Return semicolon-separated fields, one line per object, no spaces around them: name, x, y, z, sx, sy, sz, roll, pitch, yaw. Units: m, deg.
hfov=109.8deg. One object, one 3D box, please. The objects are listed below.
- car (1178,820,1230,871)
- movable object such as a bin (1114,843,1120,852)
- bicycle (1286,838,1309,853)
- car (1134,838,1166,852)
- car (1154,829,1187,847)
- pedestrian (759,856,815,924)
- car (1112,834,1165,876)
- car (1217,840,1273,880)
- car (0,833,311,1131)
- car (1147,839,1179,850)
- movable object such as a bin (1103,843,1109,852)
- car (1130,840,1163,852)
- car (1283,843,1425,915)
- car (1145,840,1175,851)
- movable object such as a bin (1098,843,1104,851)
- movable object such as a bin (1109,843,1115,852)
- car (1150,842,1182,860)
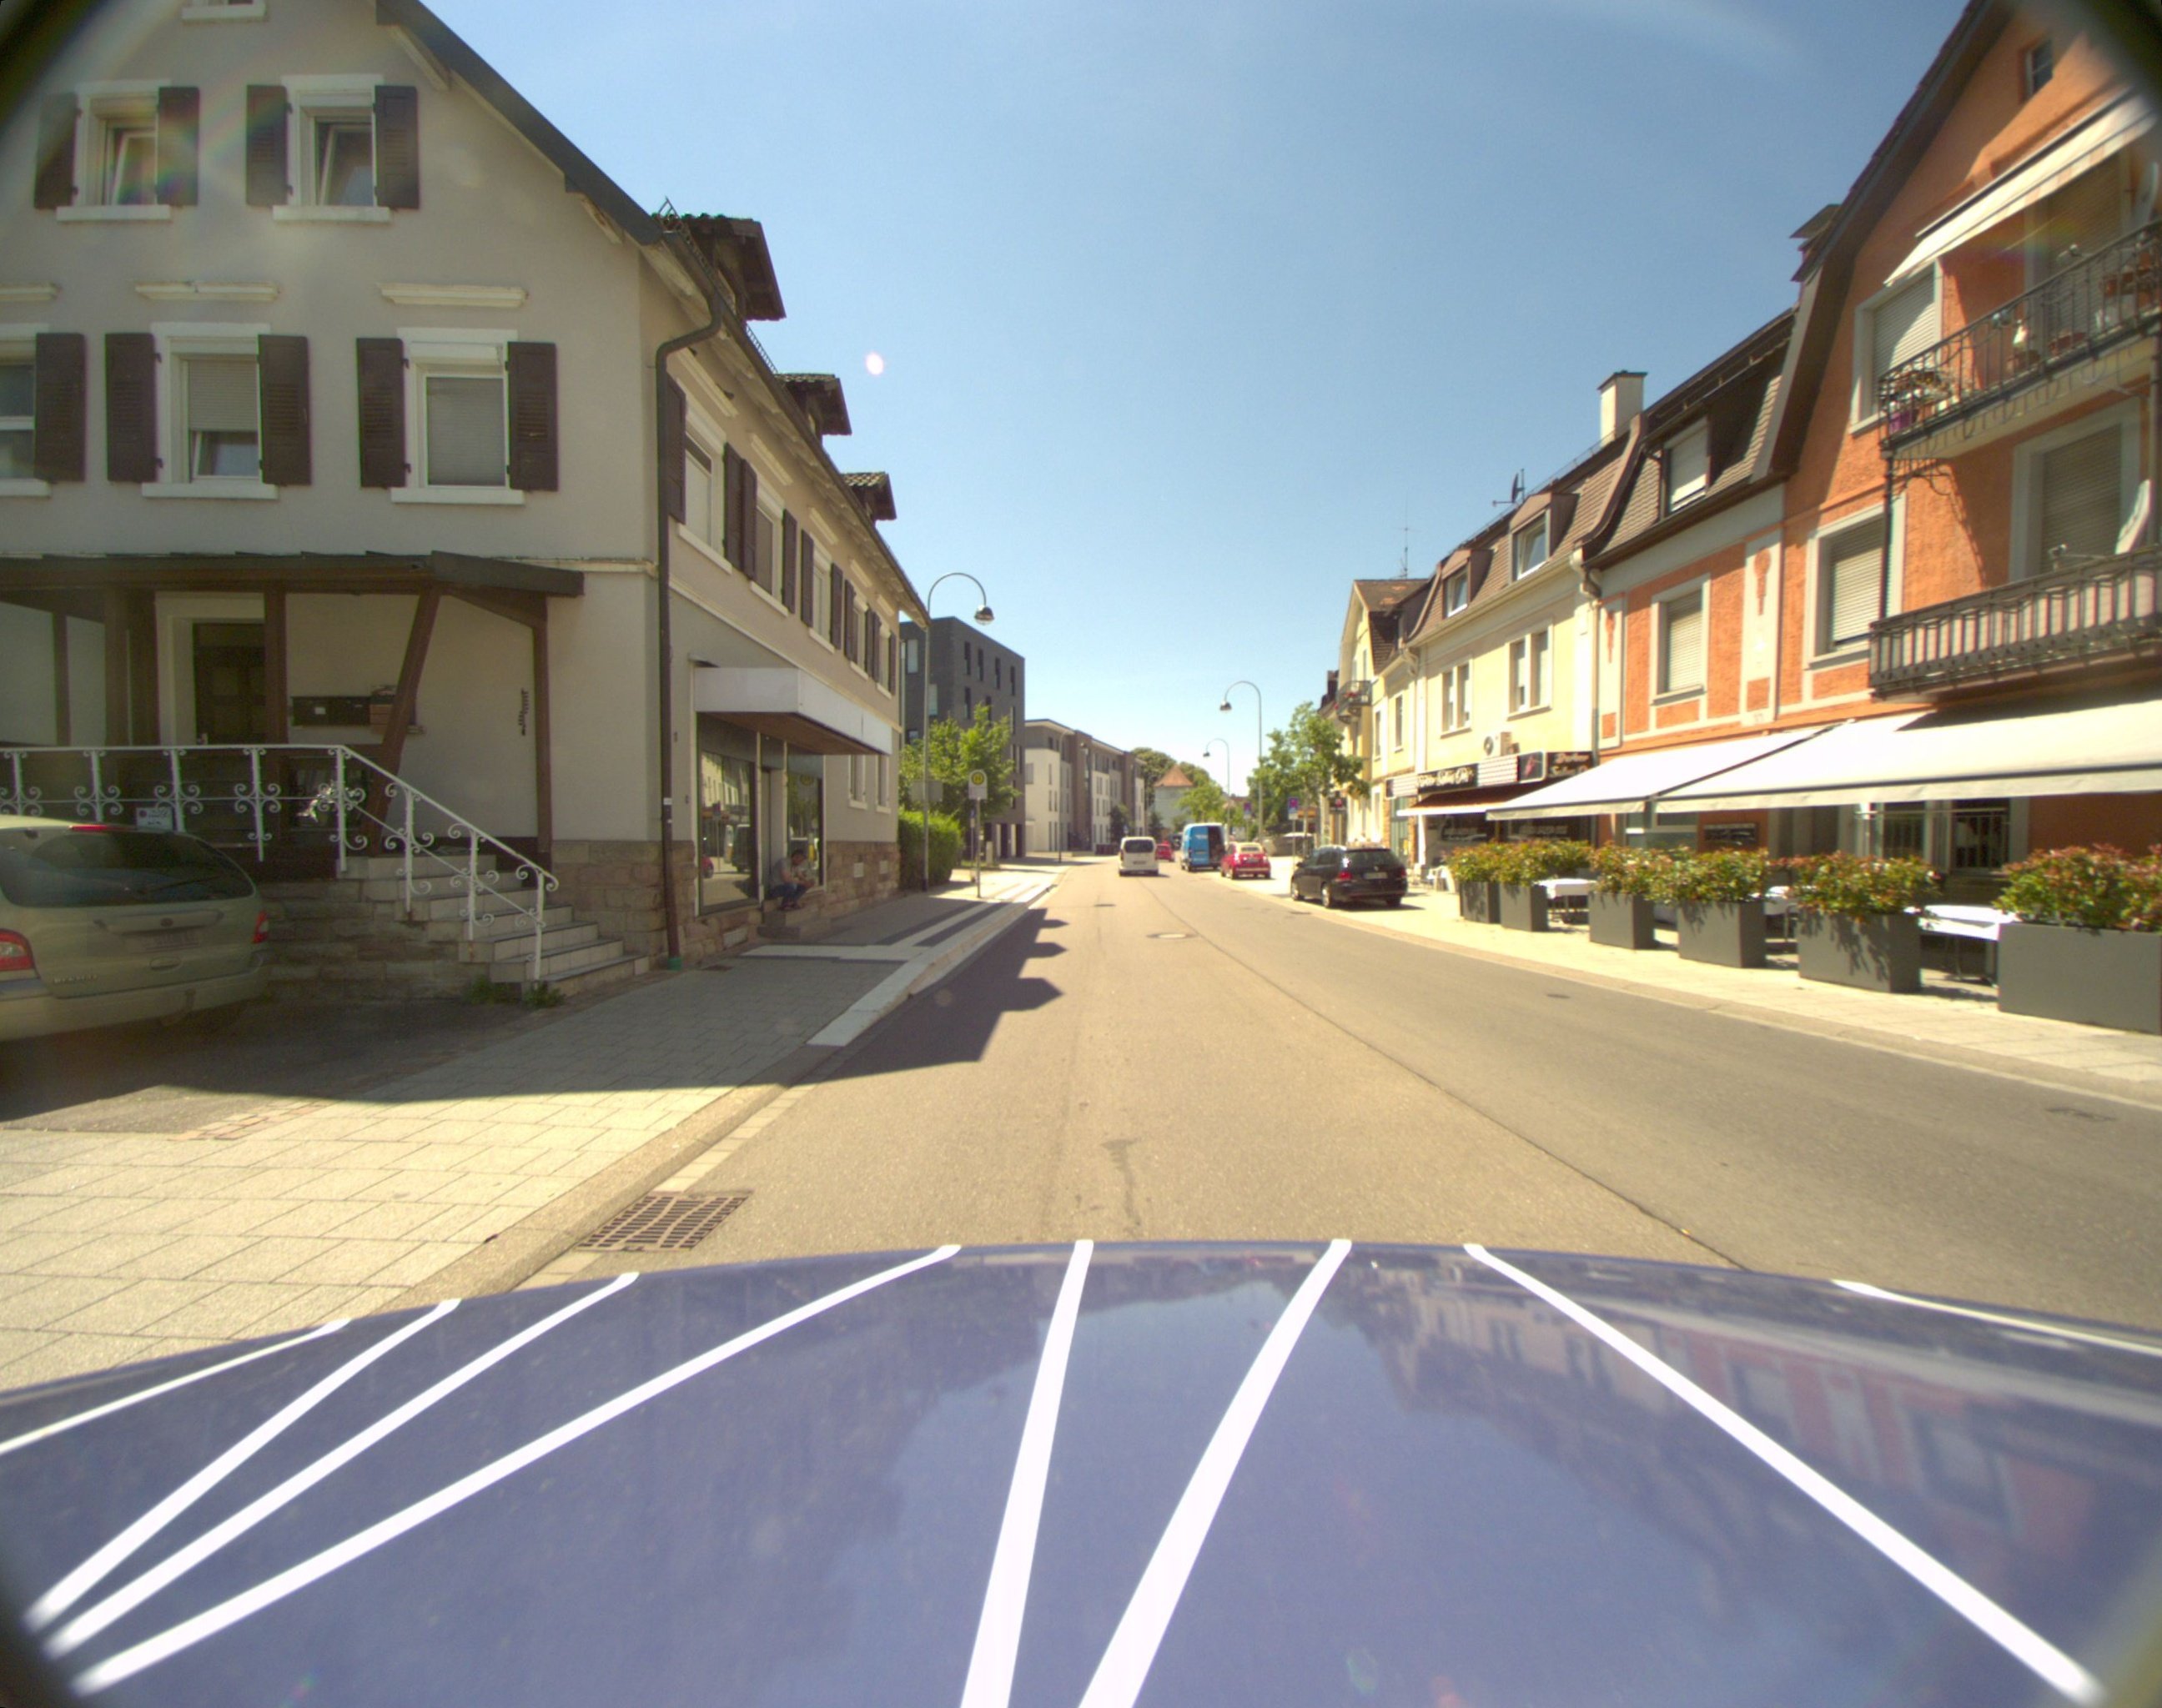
car;6.492;-0.480;40.713;2.097;2.484;5.503;-2;1;3
movable object such as a bin;3.890;-0.729;82.151;0.473;0.925;0.529;2;3;18
bicycle;18.699;-0.722;65.664;1.768;1.227;0.617;-3;0;12
car;8.980;-1.212;98.392;3.813;1.776;1.842;1;2;16
car;14.000;-2.575;118.540;4.860;2.721;1.853;1;2;18
pedestrian;-4.566;0.545;11.828;0.591;0.994;0.723;1;1;-1
car;2.622;0.000;35.632;1.999;1.812;4.413;1;1;-2
car;6.864;0.198;32.073;1.564;1.512;3.514;-1;2;0
car;-7.931;0.659;4.927;4.071;1.586;1.802;2;1;1
car;11.743;-1.351;108.536;4.353;1.542;1.653;0;2;15
movable object such as a bin;2.735;-0.743;82.509;0.473;0.925;0.529;2;3;18
car;8.303;-1.077;96.460;3.813;1.474;1.780;1;2;16
car;6.604;0.523;18.906;1.920;1.473;4.336;-3;1;0
car;10.787;-1.140;104.184;3.812;1.454;1.654;1;2;17
movable object such as a bin;2.151;-0.761;82.728;0.473;0.925;0.529;2;3;18
movable object such as a bin;3.349;-0.737;82.323;0.473;0.925;0.529;2;3;18
car;7.125;-0.262;63.529;1.917;1.418;3.985;0;1;17
